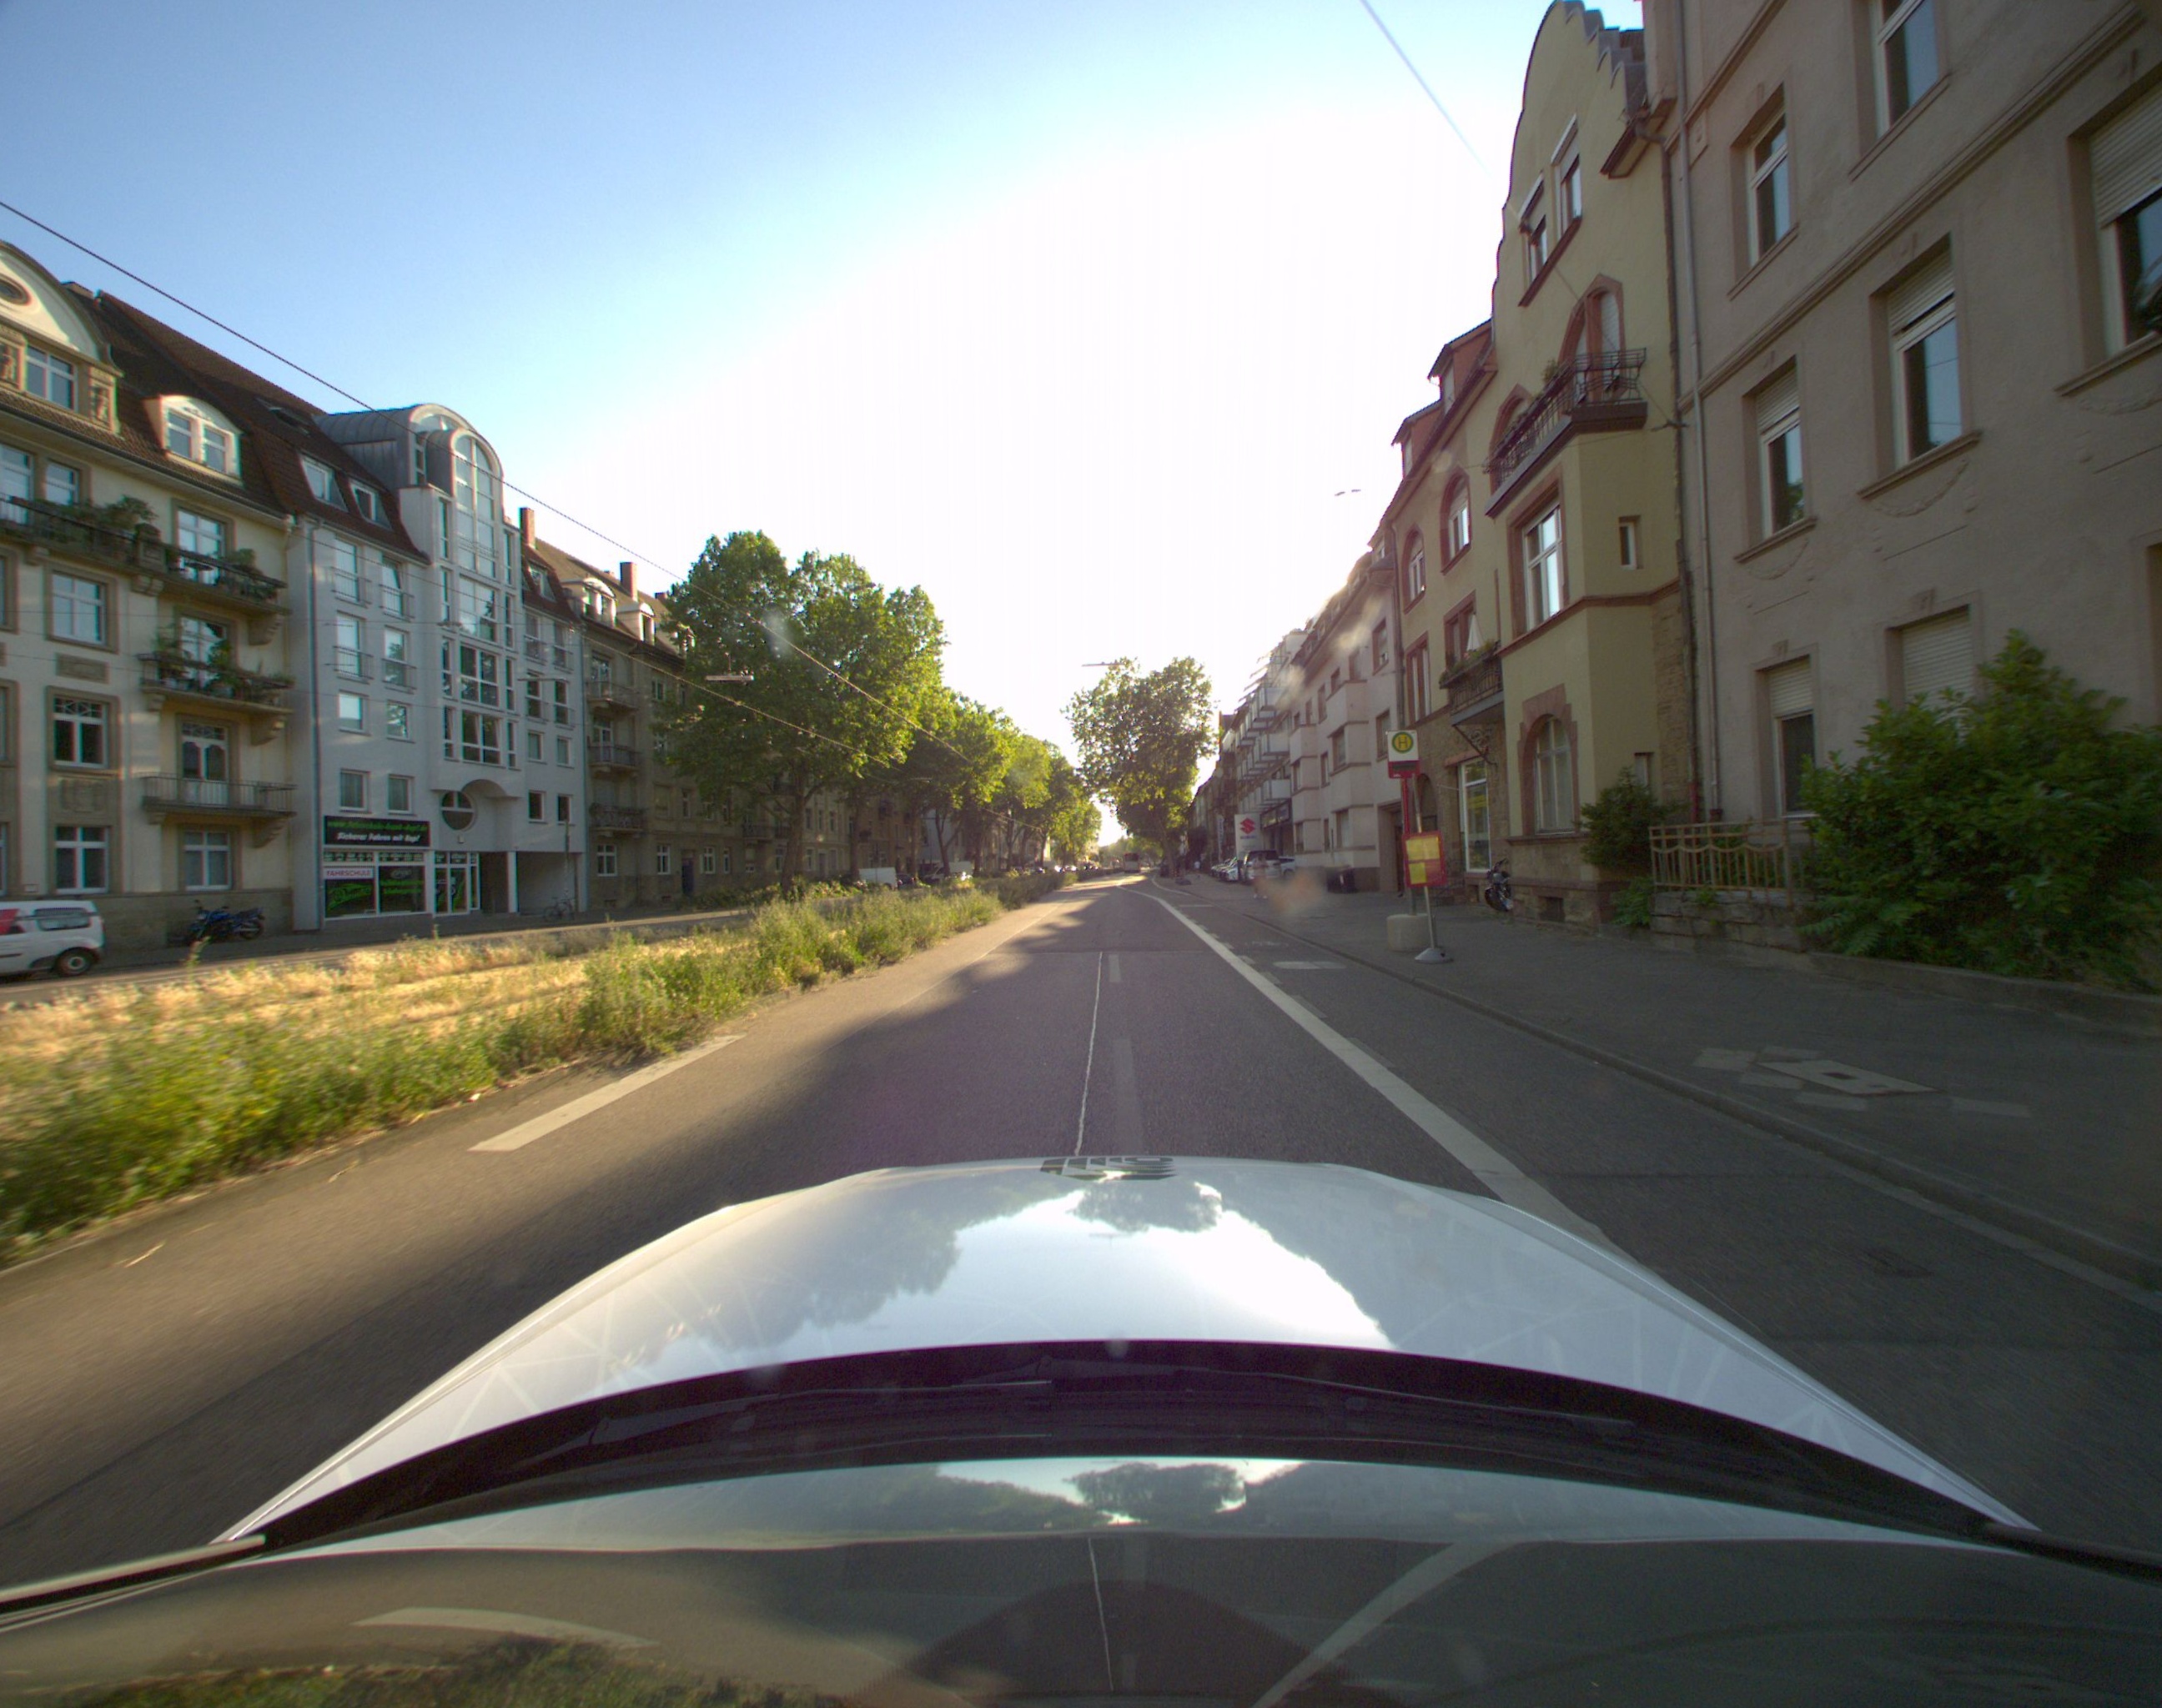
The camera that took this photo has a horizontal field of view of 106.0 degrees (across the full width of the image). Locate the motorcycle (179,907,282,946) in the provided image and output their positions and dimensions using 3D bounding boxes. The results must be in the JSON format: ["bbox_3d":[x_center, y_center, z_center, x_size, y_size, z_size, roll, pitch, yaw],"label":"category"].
[{"bbox_3d":[-26.550,2.247,25.489,0.525,1.021,2.423,0,-1,4],"label":"motorcycle"}]

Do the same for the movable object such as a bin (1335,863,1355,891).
[{"bbox_3d":[9.721,0.844,29.971,0.551,0.969,0.586,-3,-2,7],"label":"movable object such as a bin"}]

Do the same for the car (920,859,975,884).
[{"bbox_3d":[-14.636,1.873,89.459,5.534,2.529,2.102,-2,-1,-37],"label":"car"}]

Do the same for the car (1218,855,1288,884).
[{"bbox_3d":[10.321,0.915,49.133,3.799,1.501,1.913,-2,0,-1],"label":"car"}]

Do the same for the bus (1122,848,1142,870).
[{"bbox_3d":[7.965,0.890,128.064,2.822,3.236,8.187,-2,-2,3],"label":"bus"}]

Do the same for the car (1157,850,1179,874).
[{"bbox_3d":[8.958,0.871,84.140,1.984,2.257,5.240,-2,-2,4],"label":"car"}]

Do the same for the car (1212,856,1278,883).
[{"bbox_3d":[10.394,0.965,51.838,3.852,1.514,1.811,-2,0,3],"label":"car"}]

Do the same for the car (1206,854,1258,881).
[{"bbox_3d":[10.807,0.933,58.489,3.561,1.720,1.685,-3,0,7],"label":"car"}]

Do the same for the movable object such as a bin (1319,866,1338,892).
[{"bbox_3d":[9.522,0.977,31.353,0.551,0.969,0.586,-3,-2,7],"label":"movable object such as a bin"}]

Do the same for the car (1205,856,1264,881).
[{"bbox_3d":[10.619,1.007,56.576,3.803,1.540,1.861,-2,-1,3],"label":"car"}]

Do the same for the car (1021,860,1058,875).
[{"bbox_3d":[-8.274,2.752,161.832,6.951,2.678,2.174,-2,-2,-16],"label":"car"}]

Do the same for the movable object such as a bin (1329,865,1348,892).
[{"bbox_3d":[9.684,0.925,30.614,0.551,0.969,0.586,-3,-2,7],"label":"movable object such as a bin"}]

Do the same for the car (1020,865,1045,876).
[{"bbox_3d":[-8.742,2.921,146.067,4.009,1.699,1.840,-4,-1,-27],"label":"car"}]

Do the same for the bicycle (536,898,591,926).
[{"bbox_3d":[-22.175,2.475,34.940,0.751,1.033,1.904,3,0,19],"label":"bicycle"}]

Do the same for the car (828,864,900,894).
[{"bbox_3d":[-17.124,1.962,64.418,5.271,2.066,1.702,-2,-1,-37],"label":"car"}]

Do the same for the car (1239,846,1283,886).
[{"bbox_3d":[9.791,0.675,44.606,1.882,1.948,4.911,-3,-2,8],"label":"car"}]

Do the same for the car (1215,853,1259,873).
[{"bbox_3d":[12.951,0.746,67.645,3.404,1.546,1.443,-2,-2,2],"label":"car"}]

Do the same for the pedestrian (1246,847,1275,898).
[{"bbox_3d":[6.635,0.690,30.202,0.825,1.813,1.151,-2,-2,4],"label":"pedestrian"}]

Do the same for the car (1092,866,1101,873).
[{"bbox_3d":[3.809,3.707,198.976,1.781,1.574,4.006,-3,-1,6],"label":"car"}]

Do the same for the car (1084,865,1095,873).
[{"bbox_3d":[1.864,3.367,178.257,1.866,1.694,4.768,-2,-2,-4],"label":"car"}]

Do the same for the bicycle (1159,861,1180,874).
[{"bbox_3d":[8.220,1.223,75.581,1.836,1.143,0.348,-2,-2,4],"label":"bicycle"}]

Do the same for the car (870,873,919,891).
[{"bbox_3d":[-16.266,2.426,71.026,3.746,1.422,1.702,-2,-1,-37],"label":"car"}]

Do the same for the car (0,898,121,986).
[{"bbox_3d":[-23.667,1.917,16.819,1.894,1.787,4.662,-3,-2,7],"label":"car"}]

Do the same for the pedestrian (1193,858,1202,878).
[{"bbox_3d":[9.601,1.127,67.239,0.660,1.629,0.924,-2,-2,5],"label":"pedestrian"}]

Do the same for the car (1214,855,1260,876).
[{"bbox_3d":[12.323,0.900,64.615,3.400,1.519,1.760,-3,-2,7],"label":"car"}]

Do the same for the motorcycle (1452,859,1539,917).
[{"bbox_3d":[8.825,0.707,17.475,0.587,1.137,2.506,-2,-2,1],"label":"motorcycle"}]
